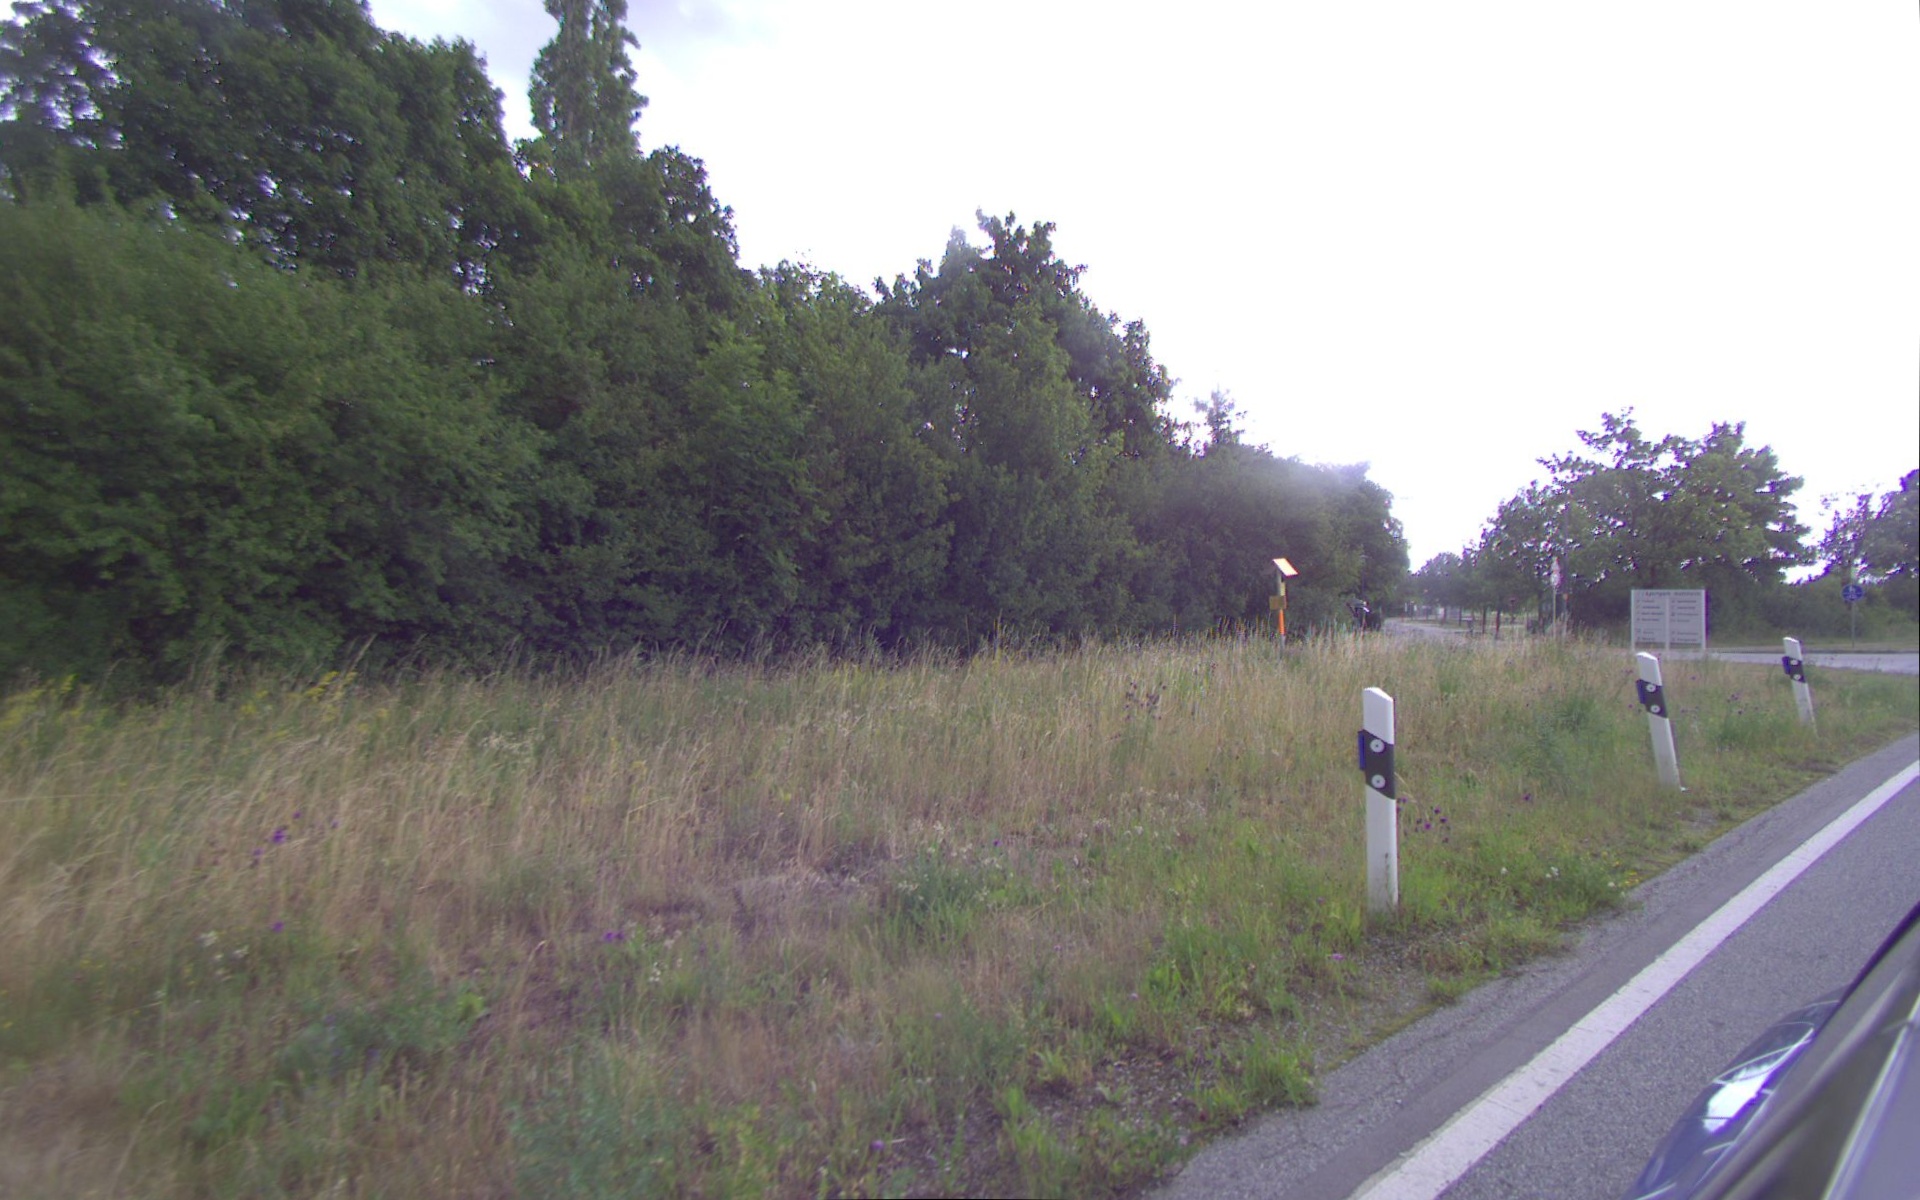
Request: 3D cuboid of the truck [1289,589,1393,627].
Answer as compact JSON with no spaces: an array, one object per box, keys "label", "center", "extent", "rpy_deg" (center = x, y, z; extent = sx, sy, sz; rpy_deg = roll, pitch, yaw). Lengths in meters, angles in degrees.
[{"label":"truck","center":[33.244,0.659,88.332],"extent":[8.285,3.149,3.047],"rpy_deg":[0,0,25]}]
